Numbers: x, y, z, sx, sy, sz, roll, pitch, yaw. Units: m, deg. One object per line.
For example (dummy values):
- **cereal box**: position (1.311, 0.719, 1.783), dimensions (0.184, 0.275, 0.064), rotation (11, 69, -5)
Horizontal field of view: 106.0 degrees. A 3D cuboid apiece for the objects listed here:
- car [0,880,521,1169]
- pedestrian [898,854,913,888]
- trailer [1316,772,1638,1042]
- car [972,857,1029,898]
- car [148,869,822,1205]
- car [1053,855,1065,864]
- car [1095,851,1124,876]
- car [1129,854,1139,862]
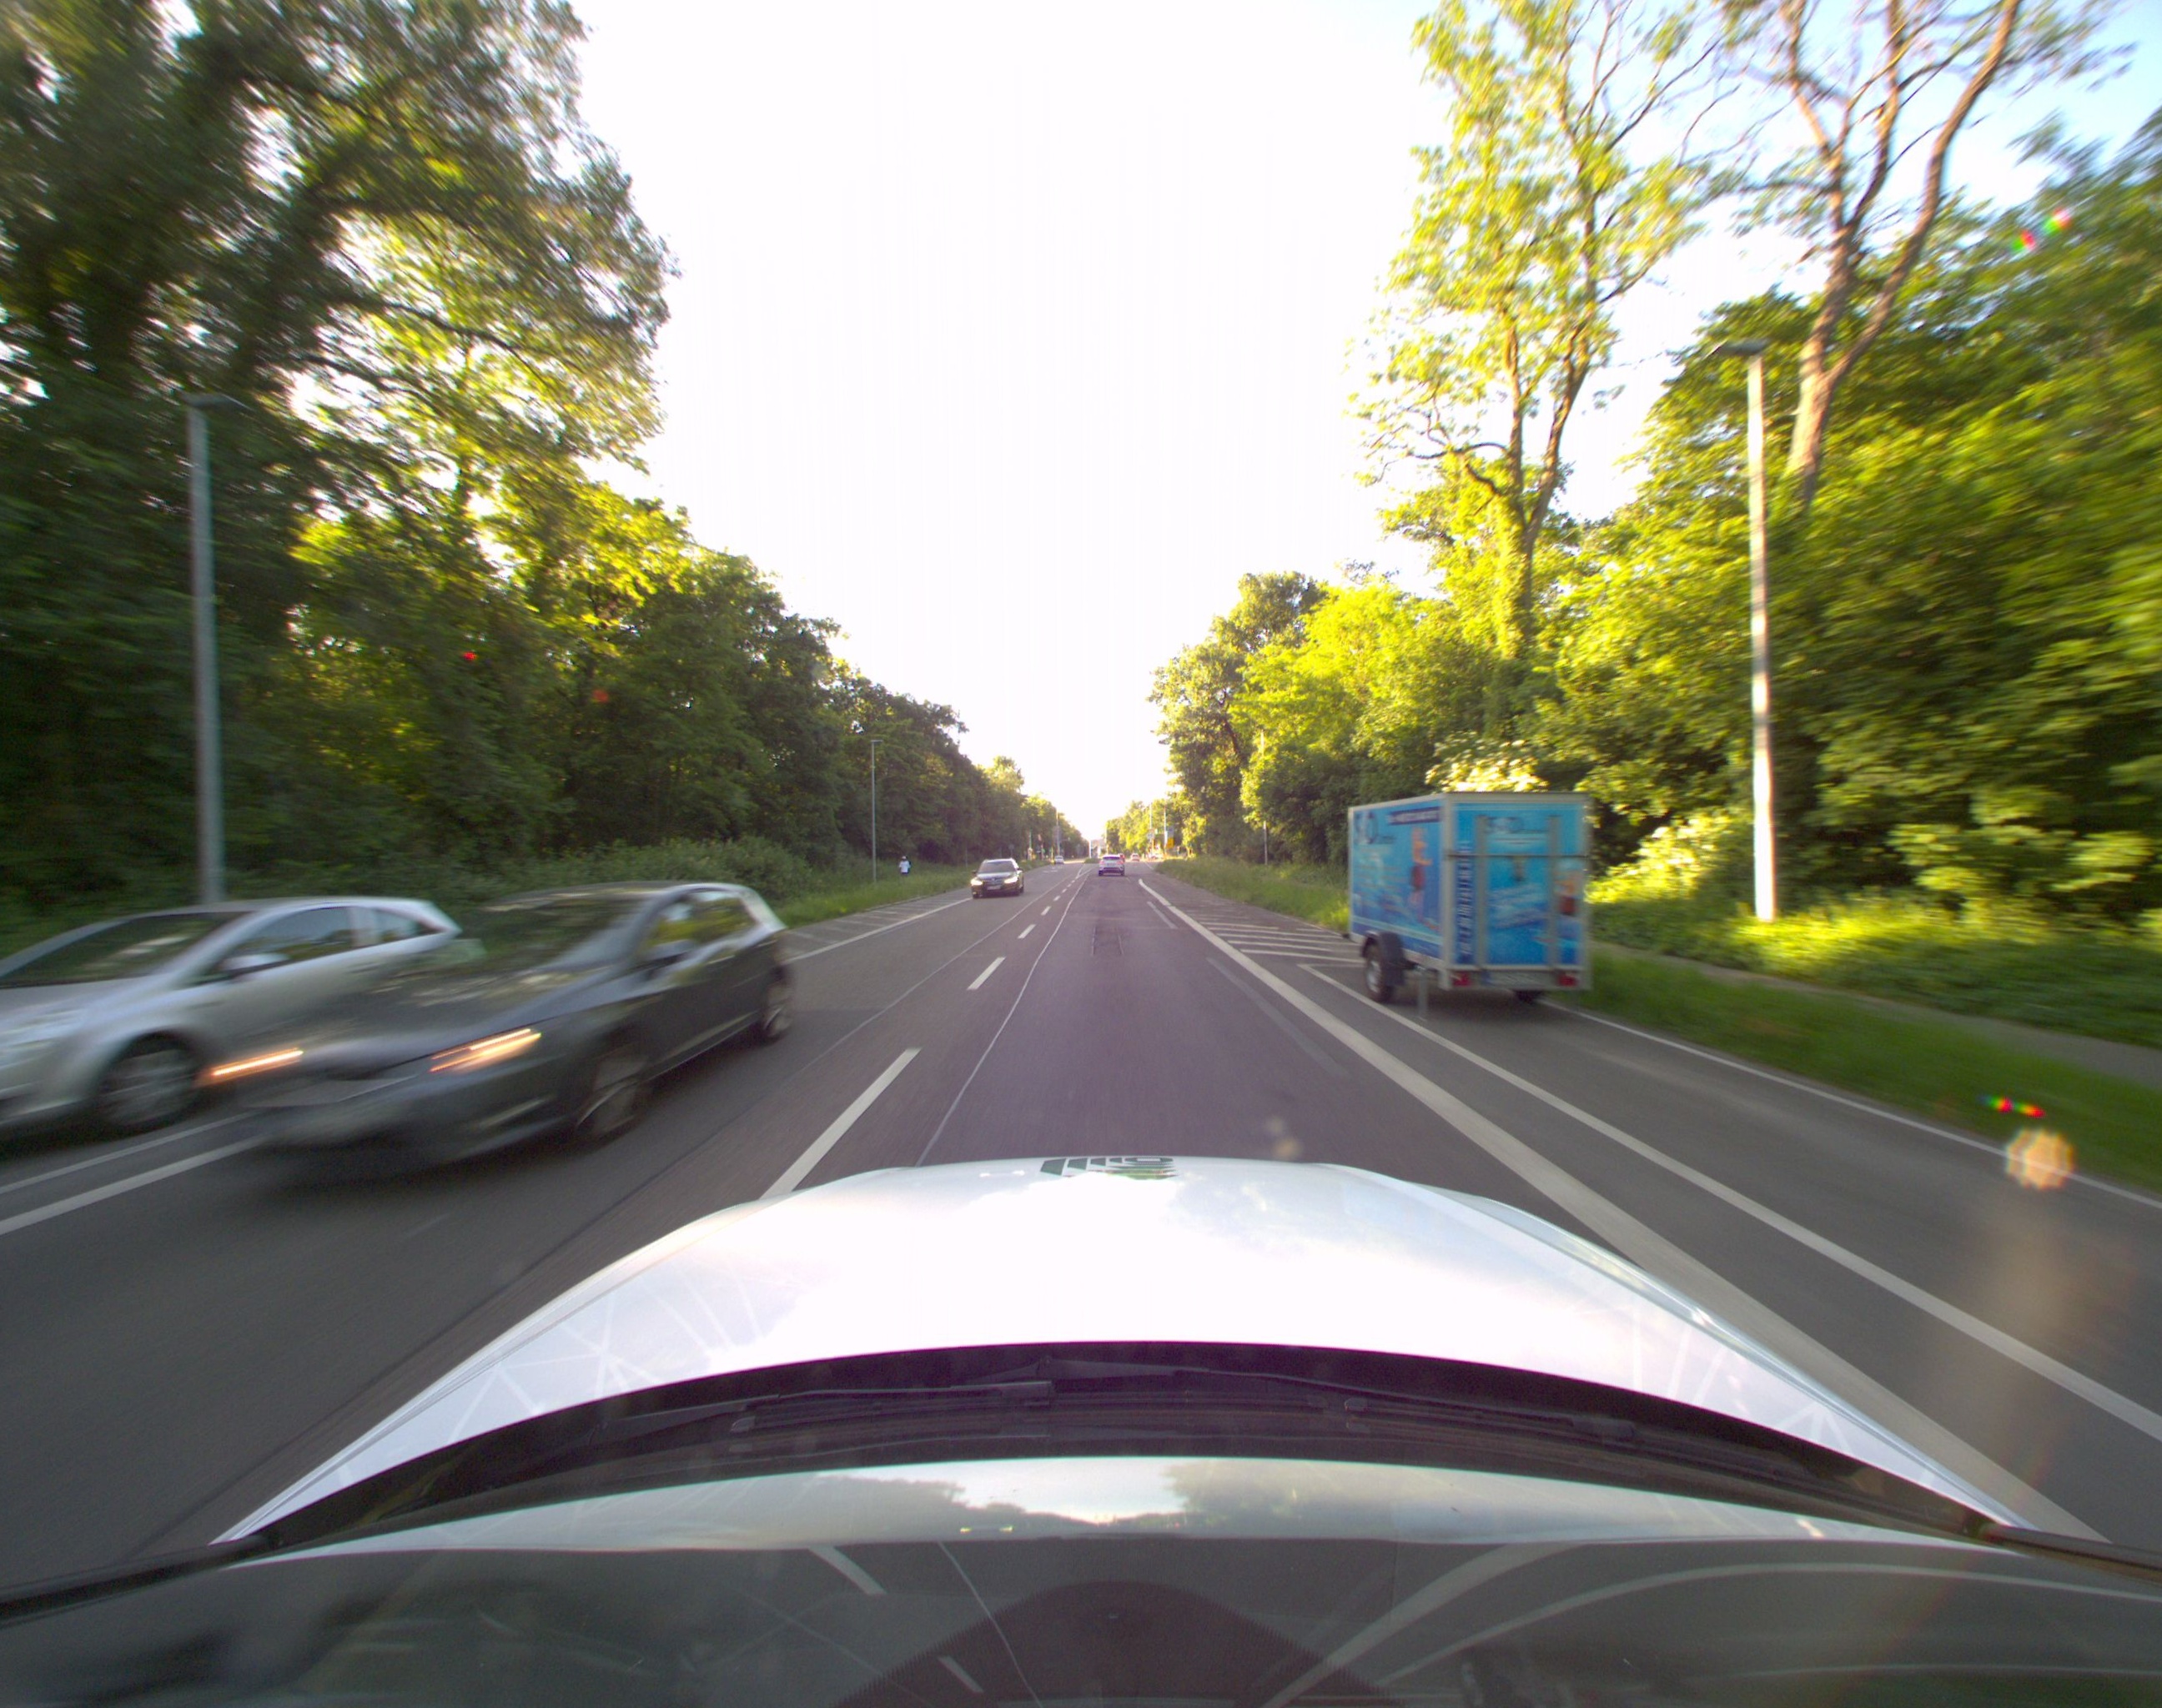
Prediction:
- **car**: position (-6.869, 1.077, 6.402), dimensions (1.860, 1.463, 4.134), rotation (-5, 0, 2)
- **pedestrian**: position (-10.551, 1.020, 49.012), dimensions (0.691, 2.014, 0.713), rotation (0, 0, 2)
- **trailer**: position (3.934, 0.433, 9.028), dimensions (1.494, 2.235, 4.551), rotation (0, 0, 2)
- **car**: position (-3.209, 0.895, 33.207), dimensions (1.672, 1.490, 4.691), rotation (-2, 0, 2)
- **car**: position (-3.385, 0.880, 5.745), dimensions (1.672, 1.415, 4.002), rotation (-2, 0, 2)
- **car**: position (-4.025, 1.013, 147.070), dimensions (1.986, 1.464, 4.001), rotation (0, 0, 1)
- **car**: position (2.045, 0.671, 58.574), dimensions (1.986, 1.640, 4.001), rotation (-2, 0, 1)
- **car**: position (10.878, 0.827, 166.710), dimensions (1.986, 1.618, 4.002), rotation (0, 0, 2)
